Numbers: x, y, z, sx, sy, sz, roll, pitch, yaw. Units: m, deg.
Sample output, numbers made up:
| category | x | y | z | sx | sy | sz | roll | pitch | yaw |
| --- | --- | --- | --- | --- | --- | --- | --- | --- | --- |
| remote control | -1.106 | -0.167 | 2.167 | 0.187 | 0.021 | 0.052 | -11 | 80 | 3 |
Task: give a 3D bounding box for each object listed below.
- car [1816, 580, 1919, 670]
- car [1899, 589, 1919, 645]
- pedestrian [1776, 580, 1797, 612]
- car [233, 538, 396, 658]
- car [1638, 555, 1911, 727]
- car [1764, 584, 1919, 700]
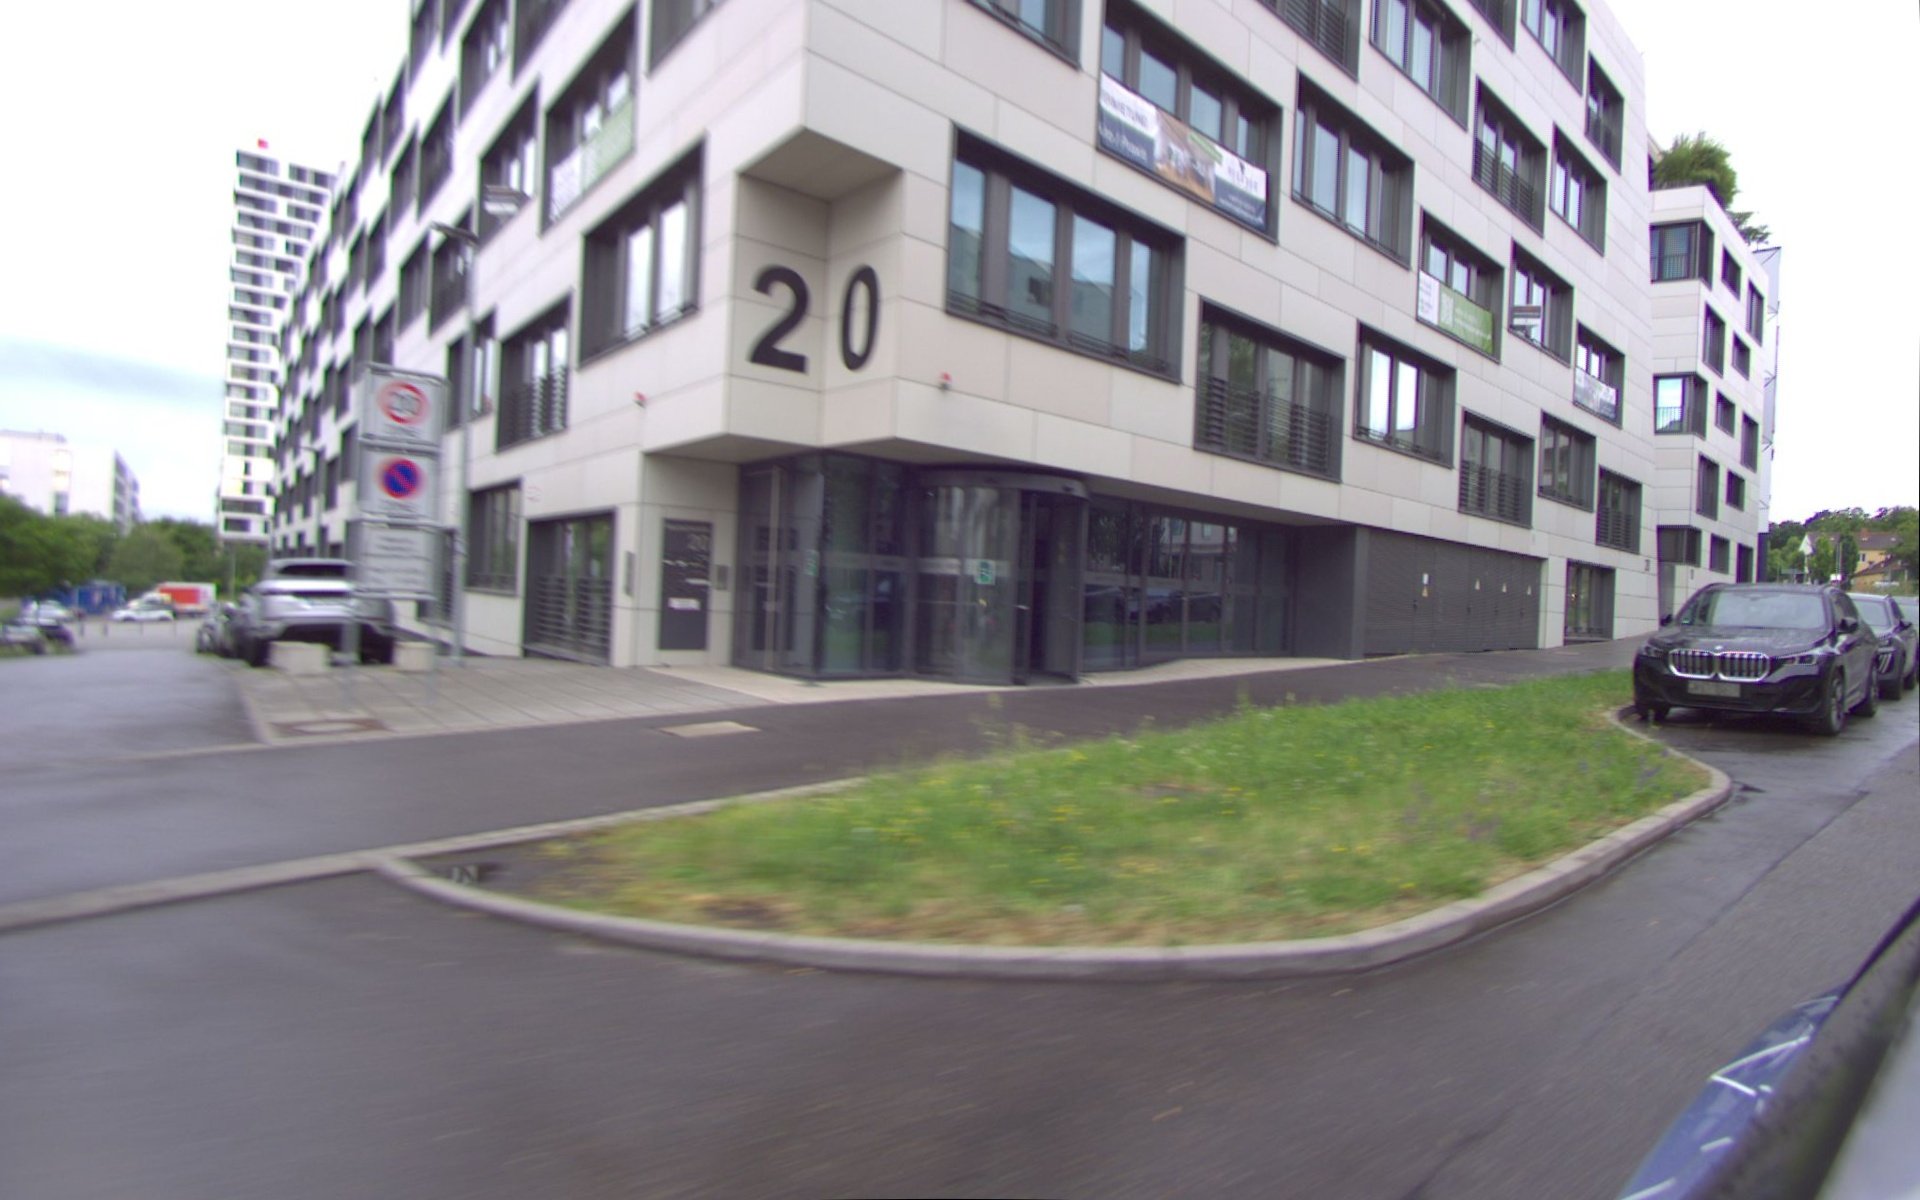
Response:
| category | x | y | z | sx | sy | sz | roll | pitch | yaw |
| --- | --- | --- | --- | --- | --- | --- | --- | --- | --- |
| car | 18.281 | 0.415 | 19.708 | 4.762 | 1.583 | 1.810 | 0 | 1 | -41 |
| car | 27.804 | 0.455 | 28.326 | 4.417 | 1.503 | 1.810 | 0 | 1 | -41 |
| pedestrian | 48.787 | -0.241 | 59.722 | 0.822 | 1.818 | 1.189 | 2 | 1 | 43 |
| car | -10.290 | 0.032 | 16.003 | 1.859 | 1.636 | 3.996 | 0 | -2 | -37 |
| car | 9.951 | 0.433 | 12.218 | 4.630 | 1.700 | 1.810 | 1 | -1 | -41 |
| car | 14.507 | 0.564 | 16.269 | 4.298 | 1.625 | 1.751 | 0 | 1 | -41 |
